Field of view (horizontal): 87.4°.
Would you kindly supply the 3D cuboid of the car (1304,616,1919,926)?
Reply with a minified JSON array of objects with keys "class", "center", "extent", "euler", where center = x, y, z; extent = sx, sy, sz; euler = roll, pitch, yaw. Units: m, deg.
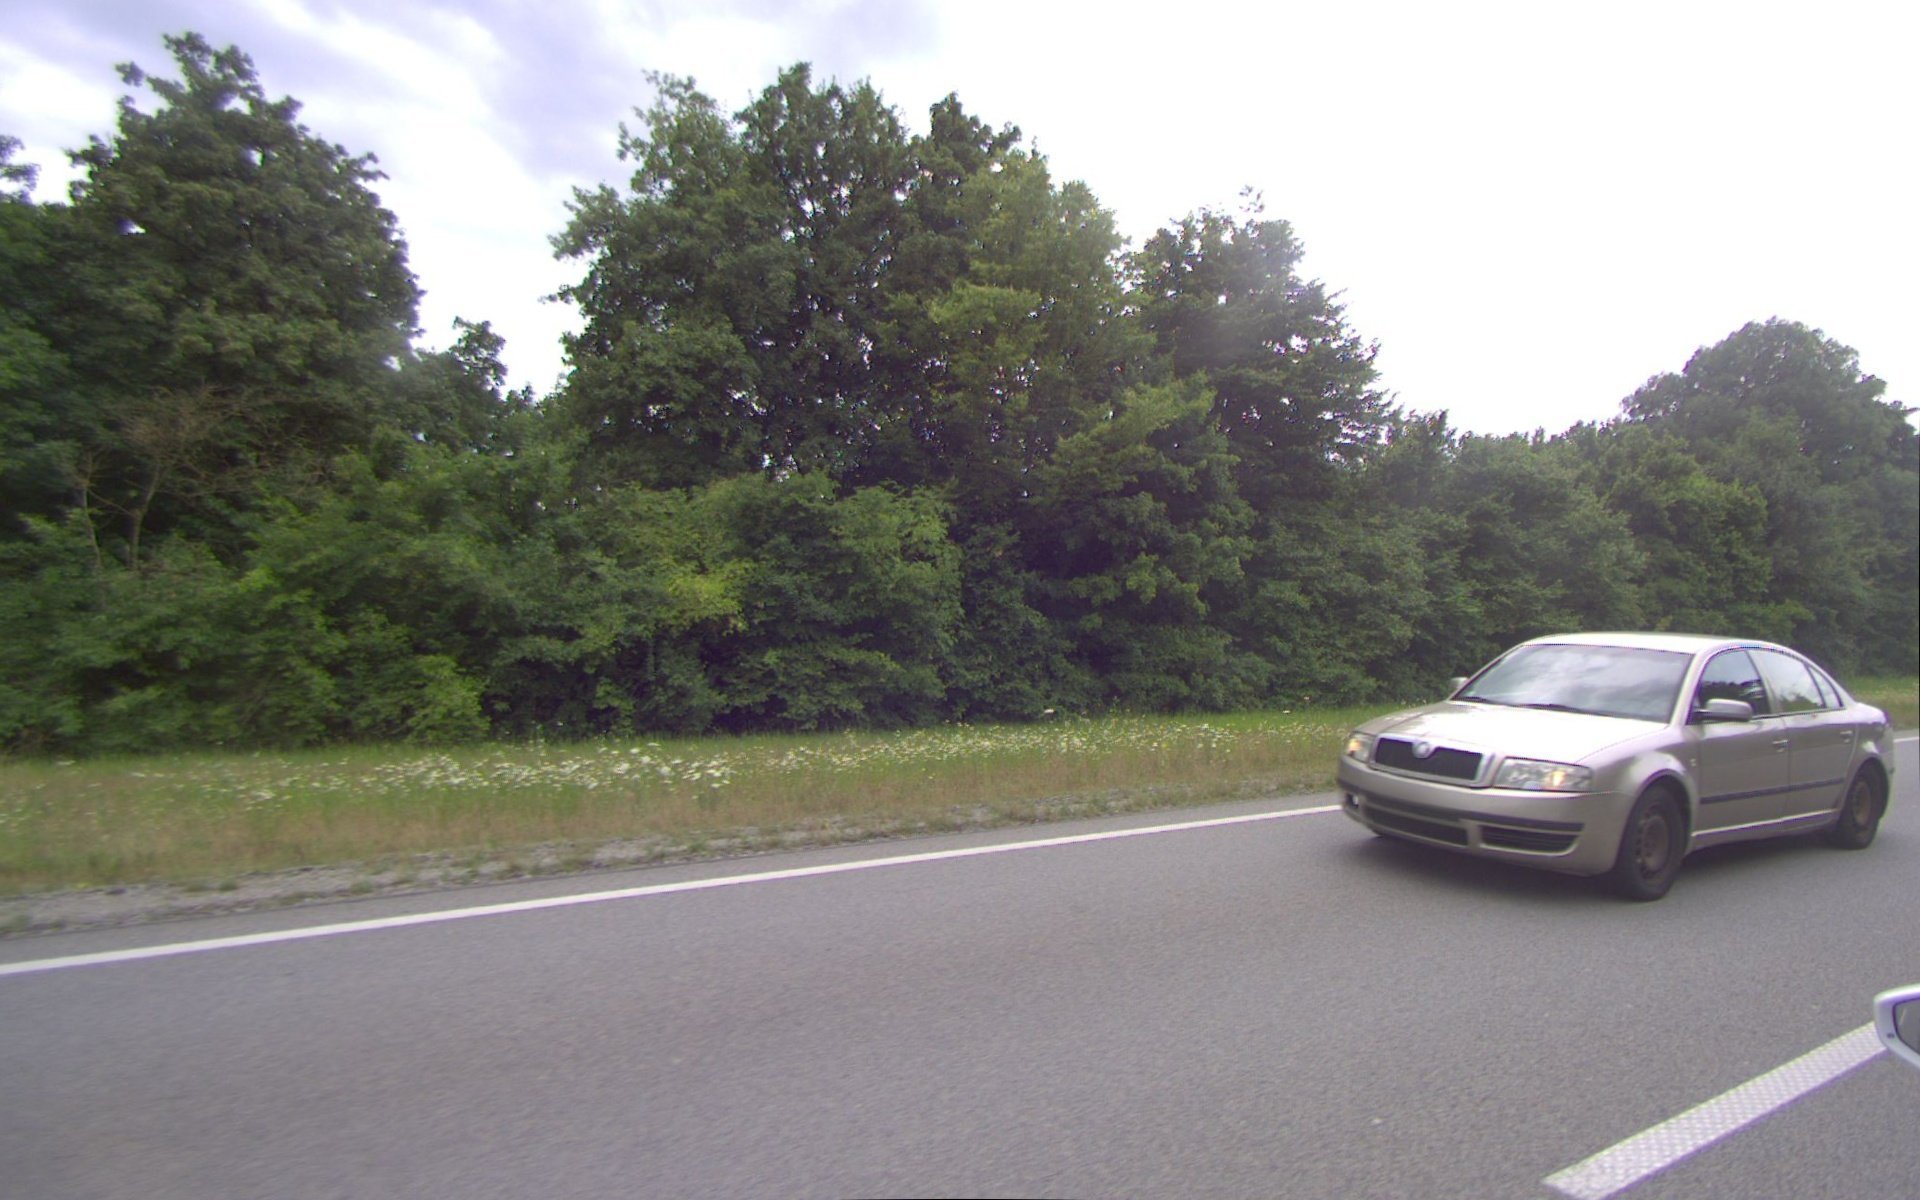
[{"class":"car","center":[4.526,0.894,6.737],"extent":[4.451,1.453,1.717],"euler":[2,0,-31]}]
